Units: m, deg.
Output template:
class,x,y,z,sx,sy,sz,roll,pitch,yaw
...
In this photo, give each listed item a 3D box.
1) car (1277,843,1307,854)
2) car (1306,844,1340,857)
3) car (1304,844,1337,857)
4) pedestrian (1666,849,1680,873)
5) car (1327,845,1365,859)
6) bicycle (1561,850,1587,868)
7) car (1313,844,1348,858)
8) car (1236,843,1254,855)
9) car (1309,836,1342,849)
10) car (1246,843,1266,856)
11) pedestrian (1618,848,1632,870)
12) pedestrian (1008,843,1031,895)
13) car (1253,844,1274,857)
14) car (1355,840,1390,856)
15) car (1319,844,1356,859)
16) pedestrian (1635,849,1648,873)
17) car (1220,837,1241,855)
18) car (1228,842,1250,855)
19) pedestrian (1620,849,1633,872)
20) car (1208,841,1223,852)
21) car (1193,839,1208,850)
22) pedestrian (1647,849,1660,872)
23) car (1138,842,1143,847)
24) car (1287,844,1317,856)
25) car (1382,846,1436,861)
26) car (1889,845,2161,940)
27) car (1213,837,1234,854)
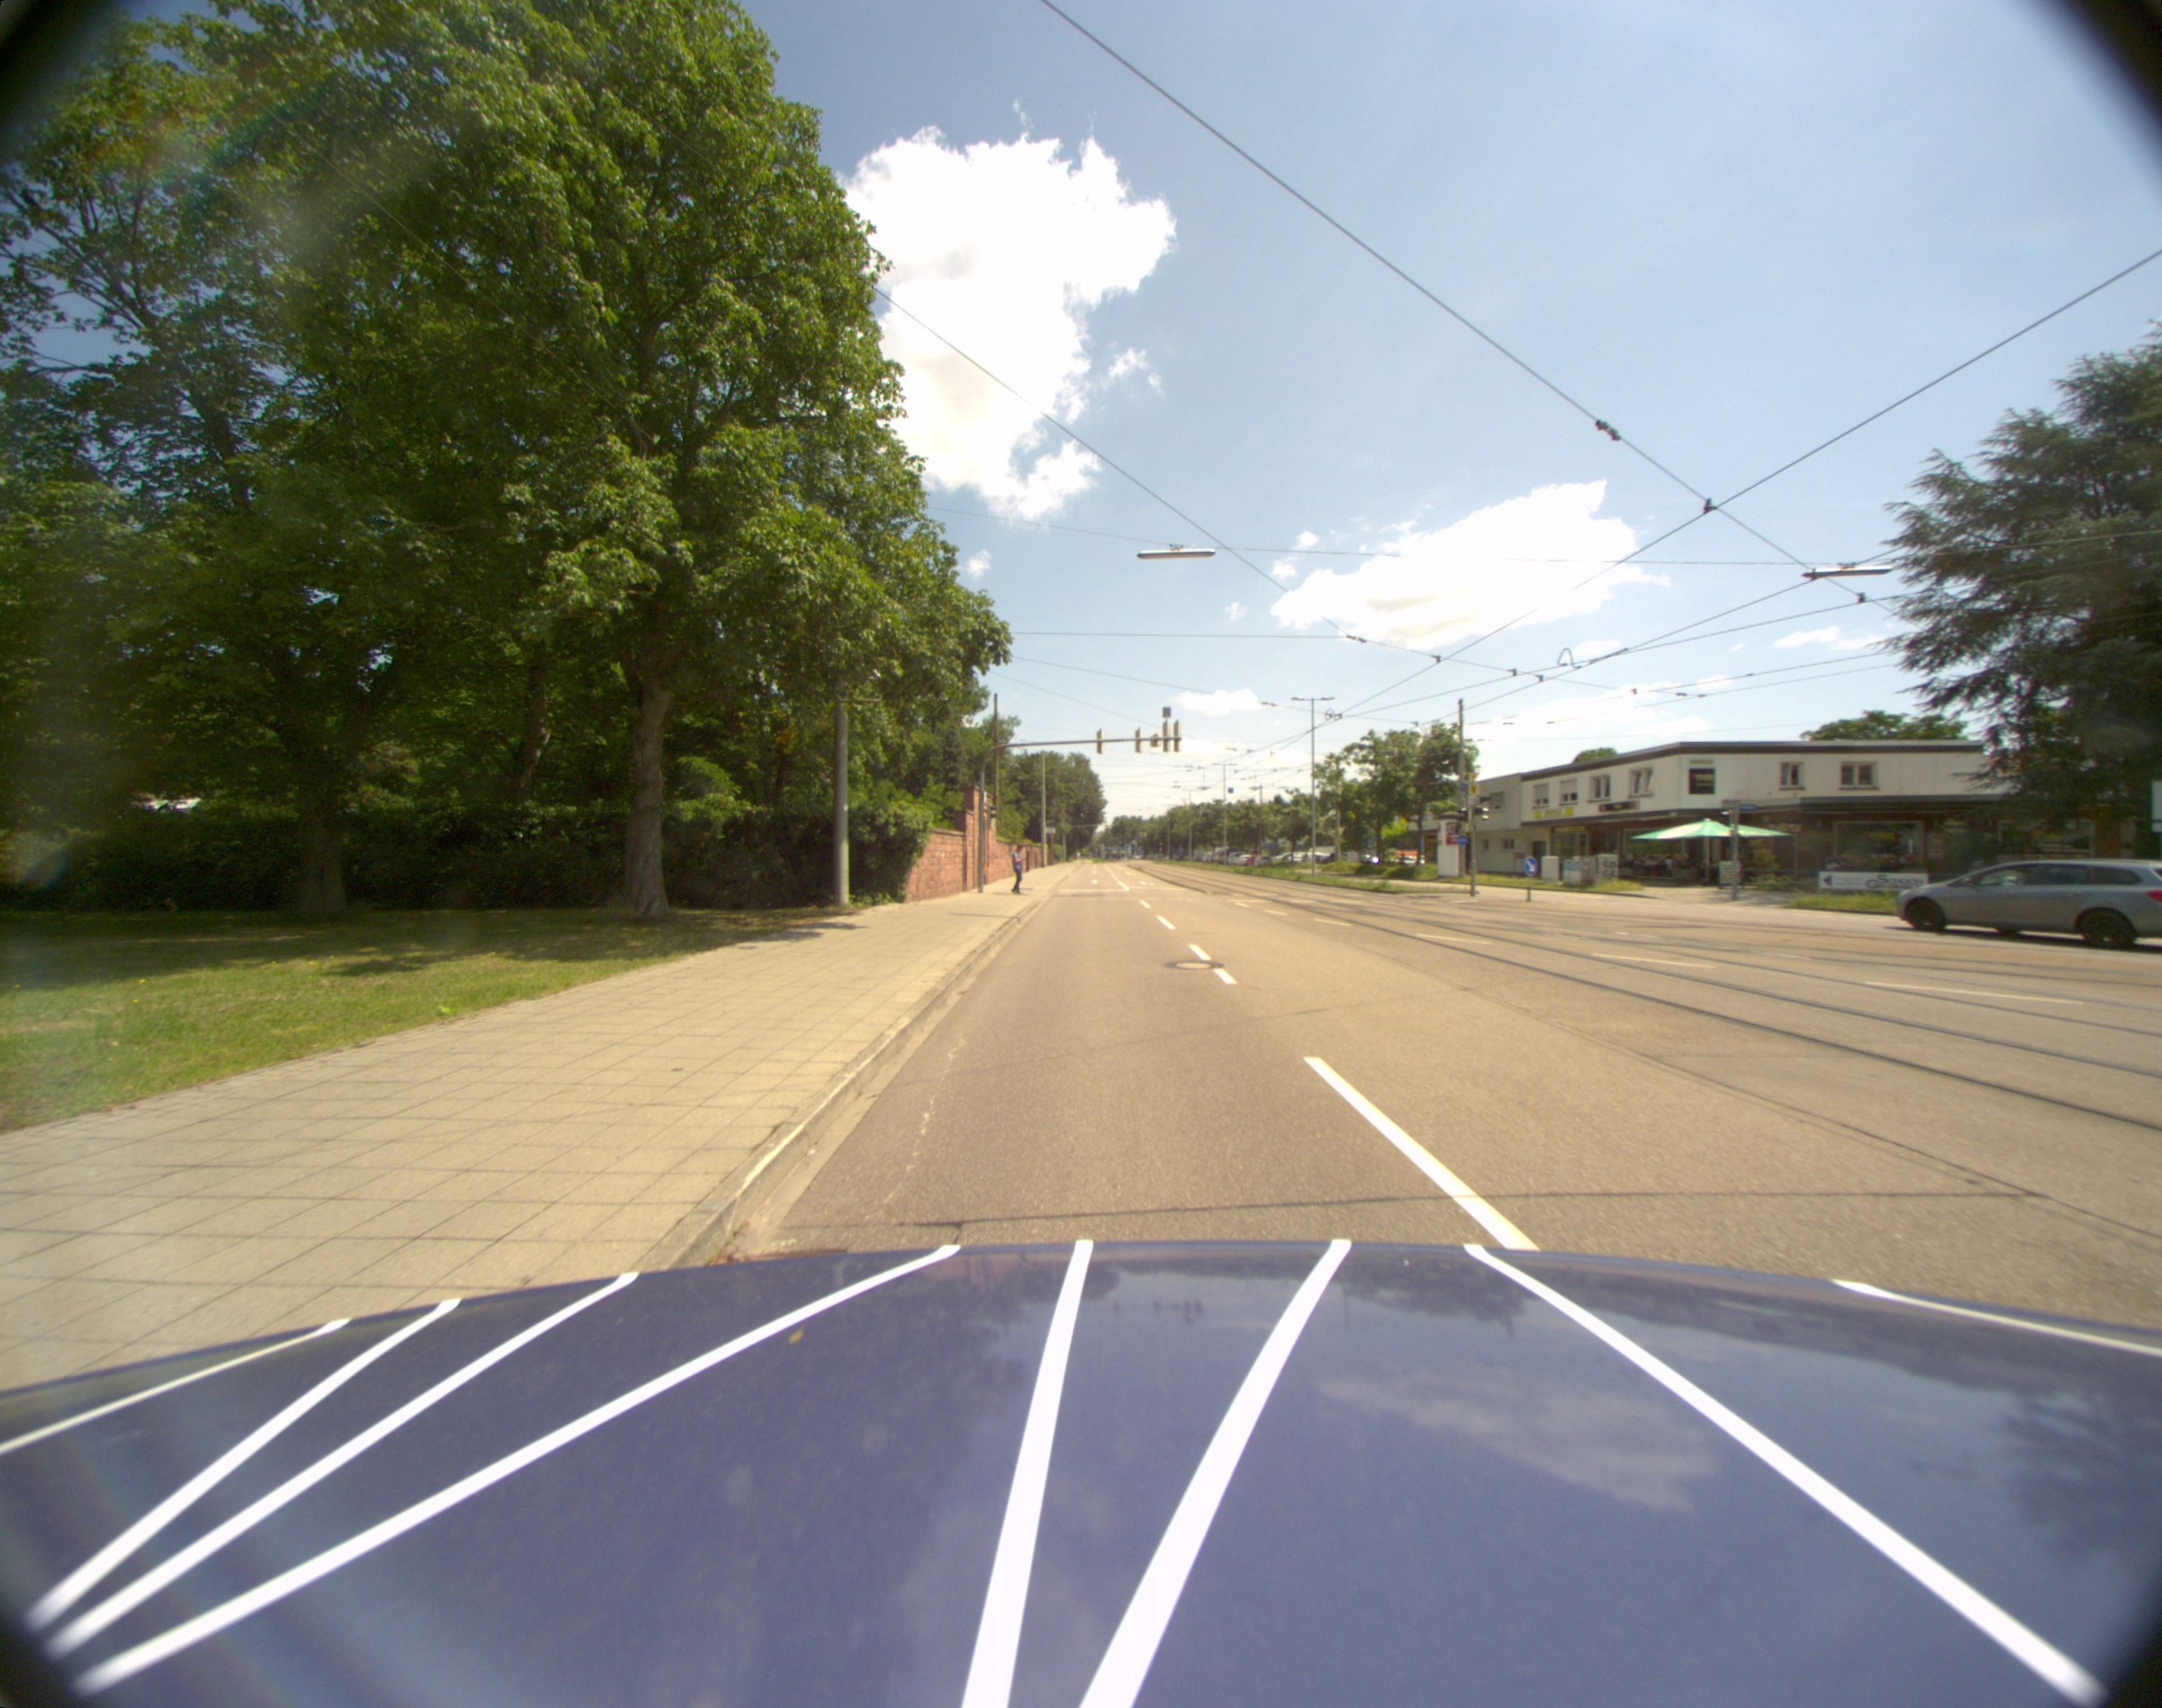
class,x,y,z,sx,sy,sz,roll,pitch,yaw
car,33.365,-0.885,120.268,4.199,1.726,1.803,2,2,2
car,33.146,-0.487,104.055,3.996,1.726,1.803,2,2,2
car,33.542,-0.530,106.484,3.996,1.726,1.903,0,1,2
pedestrian,30.744,0.374,39.471,0.341,1.261,0.452,0,1,4
car,32.463,-0.226,93.199,3.996,1.726,1.879,0,1,2
bicycle,29.133,0.285,44.926,0.399,1.035,1.801,0,1,3
car,32.250,-0.425,98.226,3.996,1.726,1.803,0,1,2
car,21.834,-0.683,101.339,1.502,1.531,4.359,-2,1,2
car,47.677,-2.251,148.300,5.697,2.467,2.259,0,1,-1
car,22.243,-0.616,96.745,1.503,1.531,3.648,-2,1,-2
pedestrian,30.879,0.286,43.145,0.353,1.261,0.580,0,1,2
pedestrian,-2.205,0.512,27.177,0.767,1.841,0.717,0,1,-11
car,21.971,-0.441,91.475,1.580,1.531,4.550,-2,1,2
car,45.529,-0.955,118.722,4.652,2.212,1.851,2,2,-1
car,32.279,-0.346,95.542,3.996,1.726,1.803,2,2,2
pedestrian,30.096,0.358,40.803,0.319,1.261,0.501,0,1,2
car,22.404,-1.203,114.069,2.155,2.597,5.033,-2,1,1
car,22.427,-0.810,108.167,2.155,1.827,4.888,-2,1,1
pedestrian,30.142,0.343,41.972,0.345,1.261,0.528,0,1,4
car,23.117,-1.324,130.894,1.794,1.928,4.648,-2,1,2
car,23.523,-1.877,149.753,2.071,2.089,4.488,-2,1,0
pedestrian,30.962,0.334,41.069,0.387,1.239,0.401,0,1,2
car,20.676,-3.158,263.595,1.681,1.680,3.547,2,1,7
car,32.543,-0.604,111.969,3.996,1.726,1.803,2,2,2
car,32.411,-0.064,75.096,4.484,1.426,1.907,0,1,4
car,17.744,0.573,13.553,1.998,1.463,4.401,0,1,1
car,22.915,-1.443,122.181,2.156,2.597,6.703,-2,1,0
